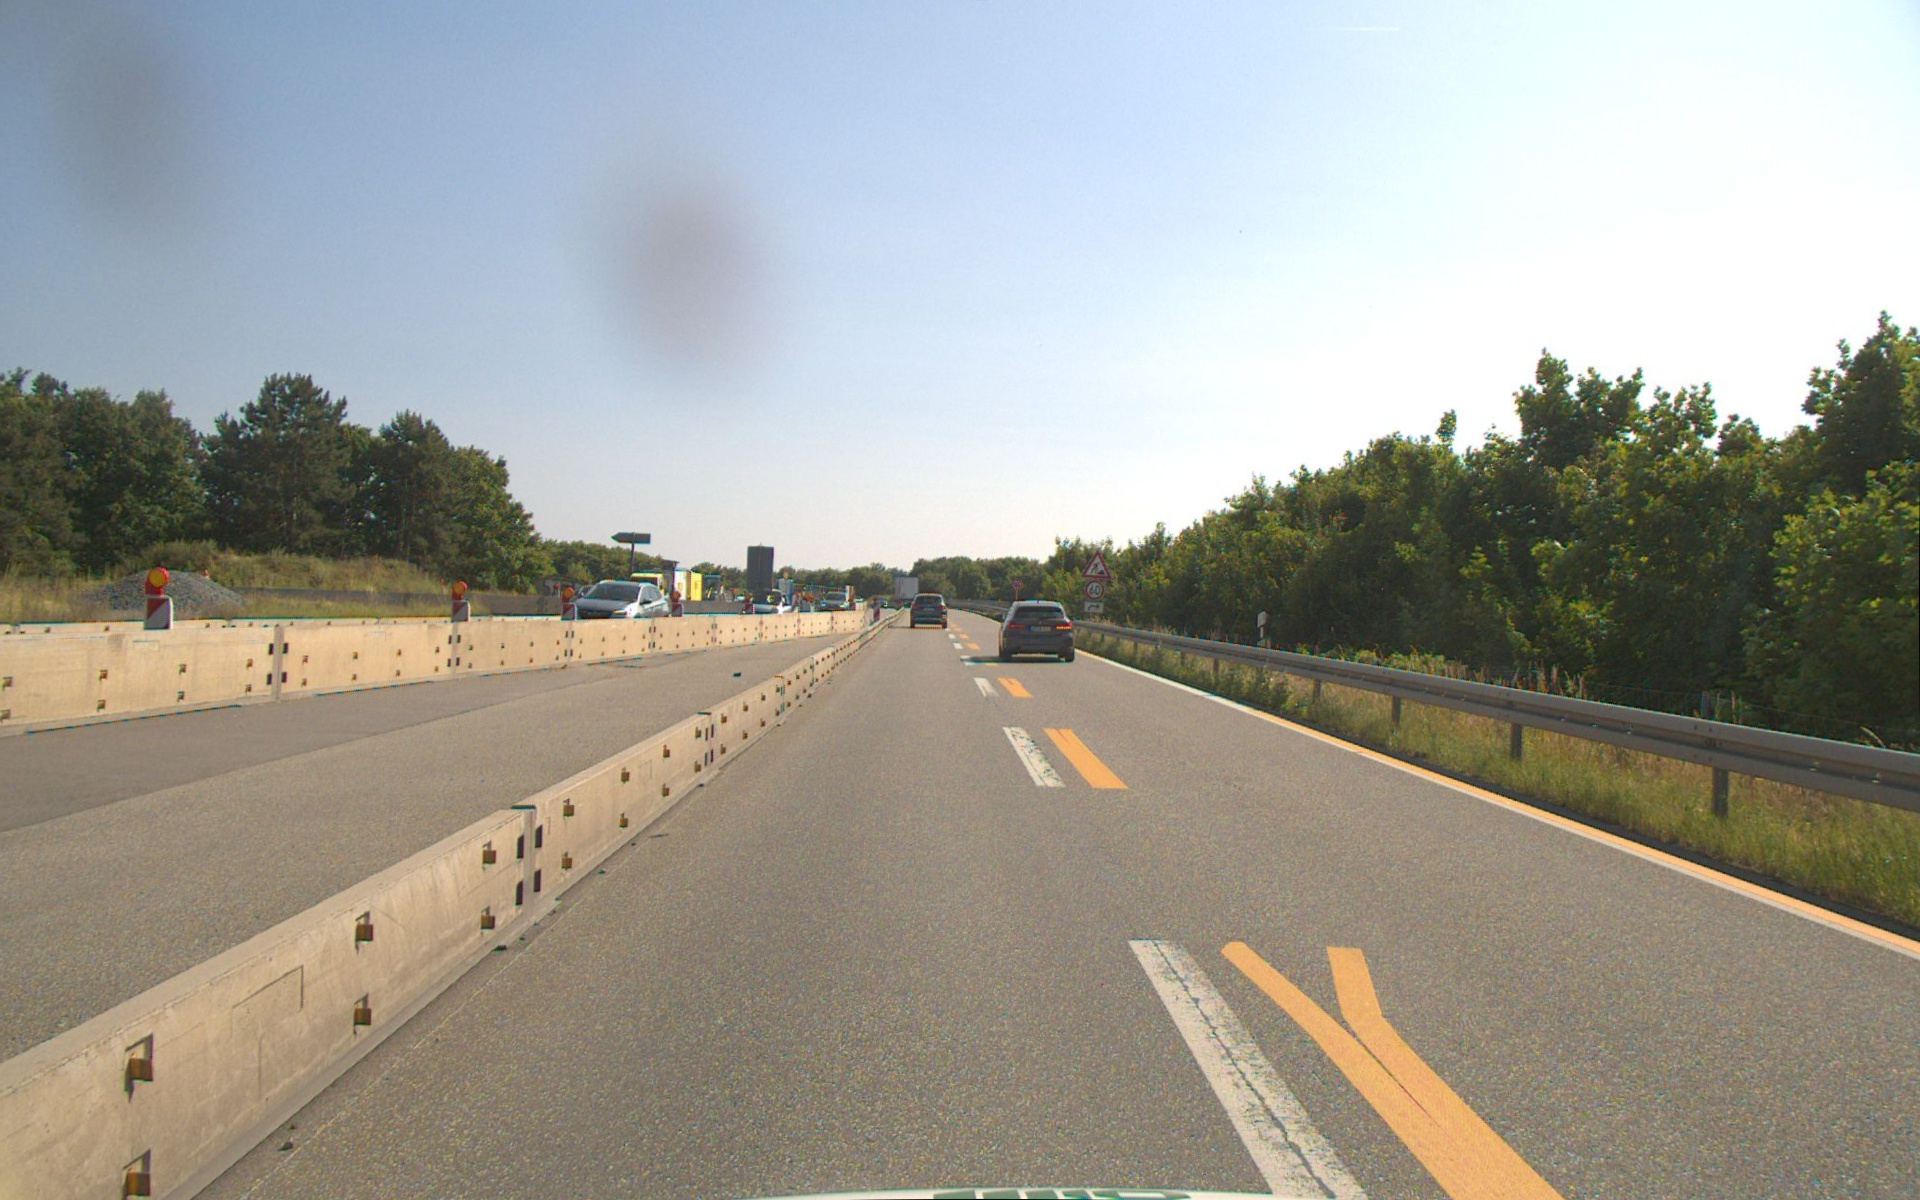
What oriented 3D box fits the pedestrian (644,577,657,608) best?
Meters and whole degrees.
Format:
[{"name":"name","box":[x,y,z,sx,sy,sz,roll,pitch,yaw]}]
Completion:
[{"name":"pedestrian","box":[-18.433,-0.447,98.580,0.728,1.852,0.795,1,0,-13]}]

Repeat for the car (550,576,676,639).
[{"name":"car","box":[-9.223,0.197,44.371,1.951,1.542,4.583,2,0,6]}]

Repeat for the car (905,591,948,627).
[{"name":"car","box":[-1.587,0.403,78.796,1.953,1.594,3.999,1,0,-1]}]

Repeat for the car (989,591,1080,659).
[{"name":"car","box":[1.803,0.579,41.108,1.882,1.520,3.998,2,0,-2]}]

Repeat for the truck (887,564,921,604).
[{"name":"truck","box":[-7.558,-2.137,222.212,3.687,4.997,14.123,2,0,-5]}]

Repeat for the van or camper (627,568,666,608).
[{"name":"van or camper","box":[-19.876,-0.787,105.126,1.955,2.419,6.192,1,0,-7]}]

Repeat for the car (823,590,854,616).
[{"name":"car","box":[-8.284,0.194,113.018,1.954,1.650,4.845,1,0,-3]}]

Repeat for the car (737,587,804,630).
[{"name":"car","box":[-7.283,0.313,64.056,1.675,1.542,4.181,2,0,6]}]
